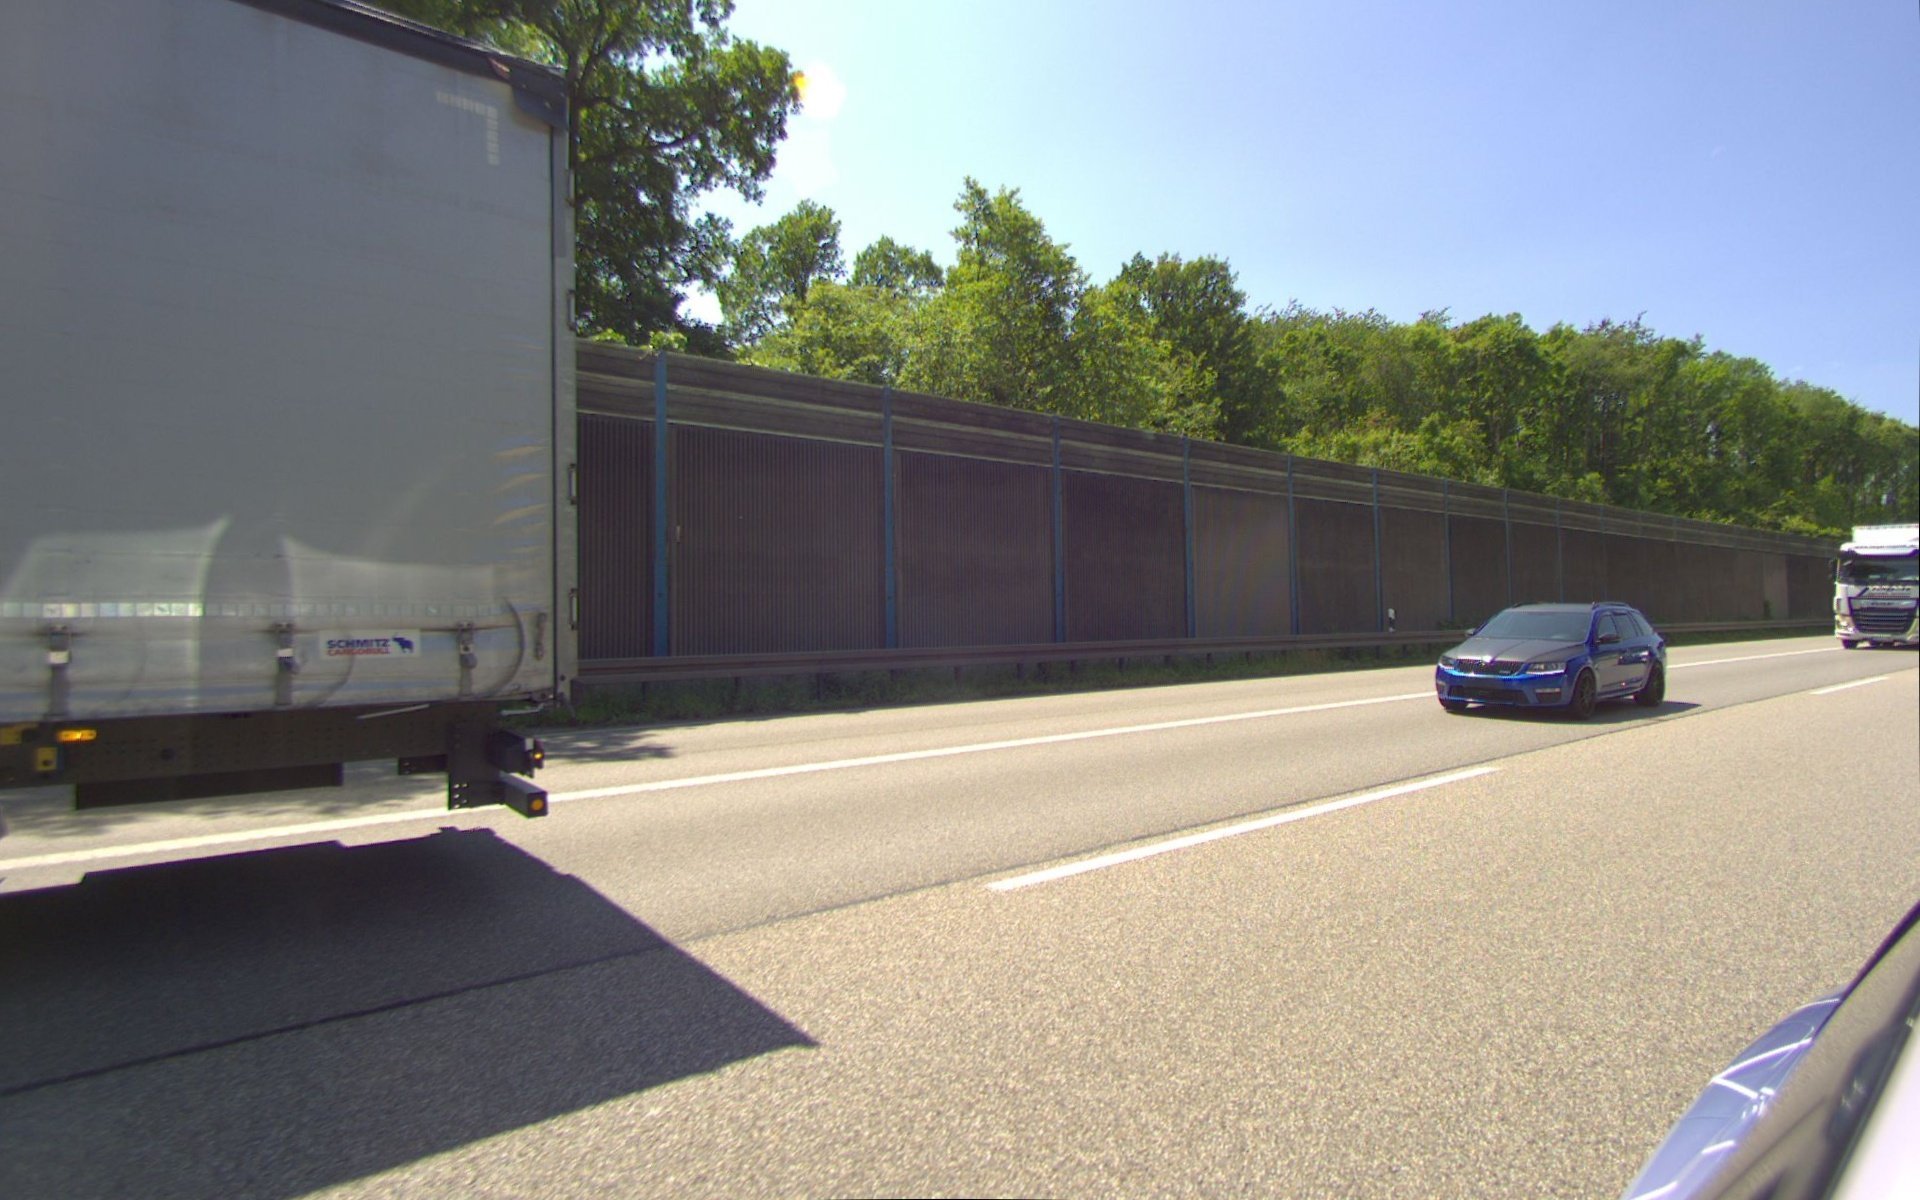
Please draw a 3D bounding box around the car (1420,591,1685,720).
[{"bbox_3d":[8.263,0.655,13.975,4.102,1.512,1.859,0,-1,-40],"label":"car"}]

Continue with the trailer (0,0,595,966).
[{"bbox_3d":[-7.713,-0.719,1.621,13.352,4.142,2.603,-1,0,-40],"label":"trailer"}]

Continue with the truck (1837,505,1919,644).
[{"bbox_3d":[31.309,-0.785,33.166,5.321,4.269,2.812,0,-1,-38],"label":"truck"}]

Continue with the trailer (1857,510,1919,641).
[{"bbox_3d":[36.570,-0.826,37.262,13.217,4.269,2.821,0,-1,-38],"label":"trailer"}]
